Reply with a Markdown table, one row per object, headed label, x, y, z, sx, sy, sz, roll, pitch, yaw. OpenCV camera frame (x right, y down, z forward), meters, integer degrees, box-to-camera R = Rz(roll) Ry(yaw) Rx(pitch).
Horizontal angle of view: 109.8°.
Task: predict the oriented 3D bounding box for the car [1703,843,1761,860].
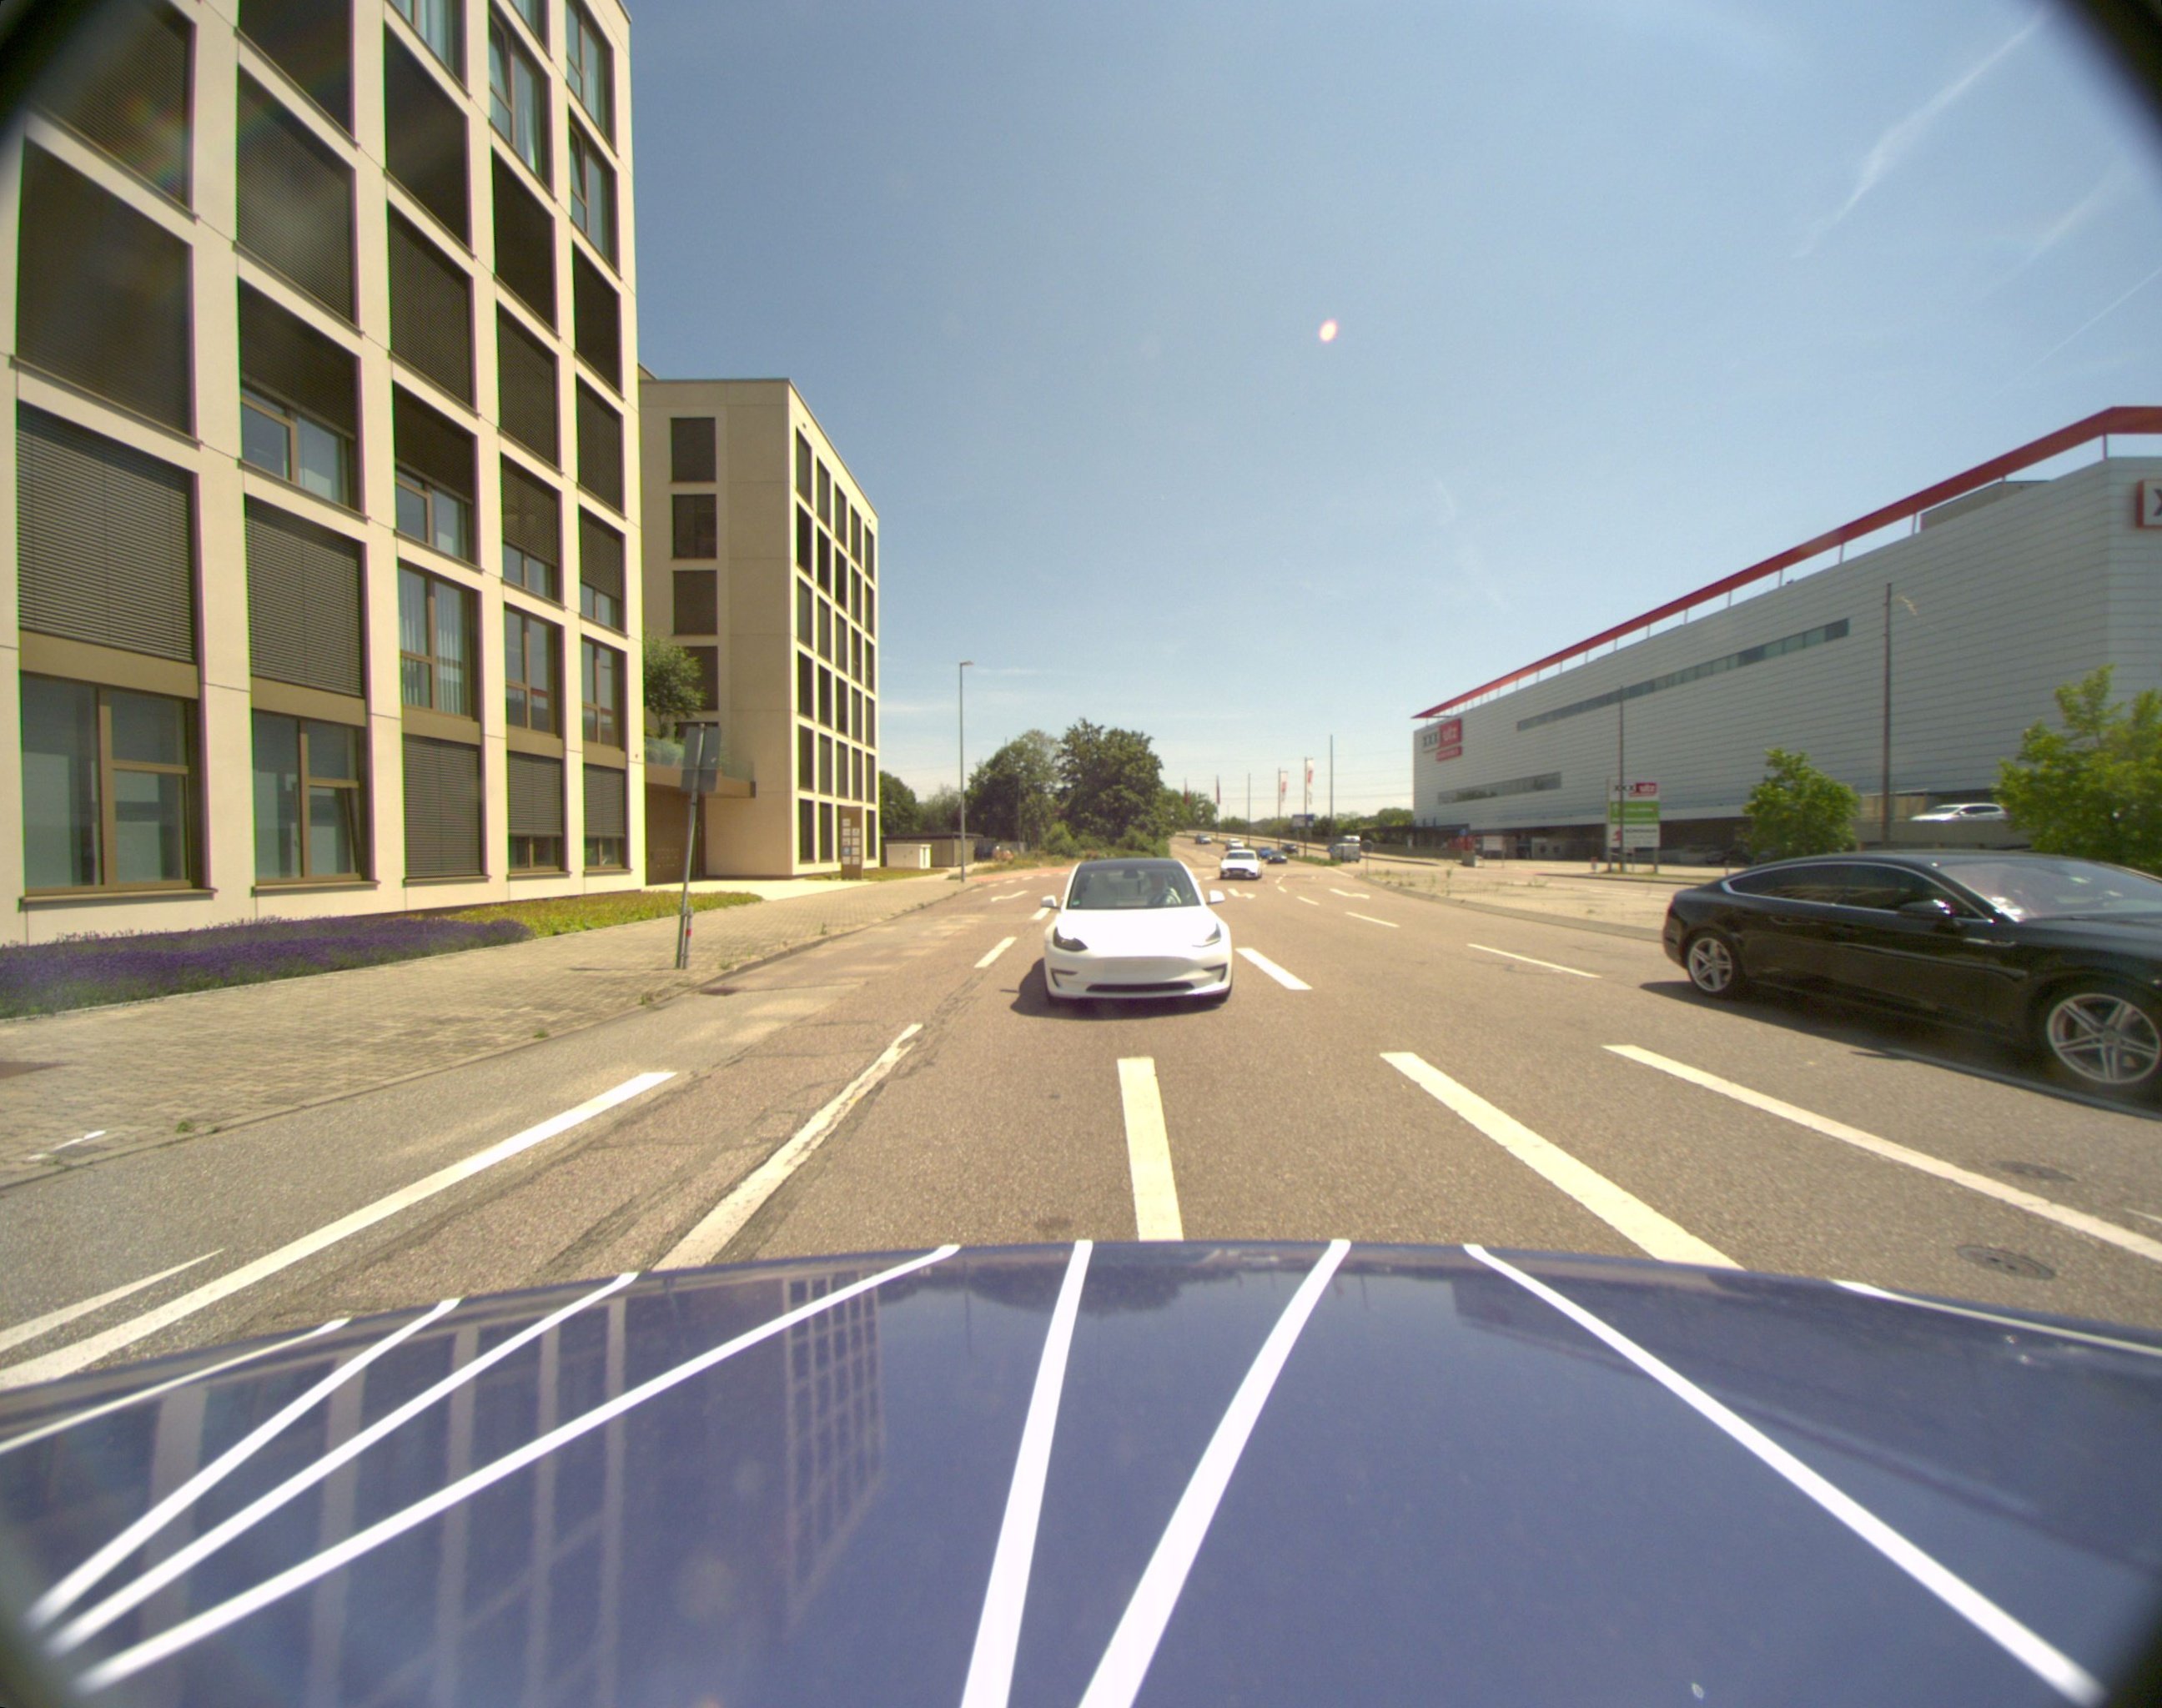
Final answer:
| label | x | y | z | sx | sy | sz | roll | pitch | yaw |
| --- | --- | --- | --- | --- | --- | --- | --- | --- | --- |
| car | 61.069 | -0.259 | 71.313 | 3.746 | 1.611 | 1.911 | 0 | 1 | 1 |

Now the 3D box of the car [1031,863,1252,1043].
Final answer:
| label | x | y | z | sx | sy | sz | roll | pitch | yaw |
| --- | --- | --- | --- | --- | --- | --- | --- | --- | --- |
| car | 0.476 | 0.883 | 8.798 | 1.880 | 1.417 | 4.405 | -2 | 0 | -1 |

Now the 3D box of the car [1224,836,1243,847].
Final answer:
| label | x | y | z | sx | sy | sz | roll | pitch | yaw |
| --- | --- | --- | --- | --- | --- | --- | --- | --- | --- |
| car | 22.340 | -1.871 | 111.465 | 1.680 | 1.566 | 4.055 | 0 | 1 | -4 |

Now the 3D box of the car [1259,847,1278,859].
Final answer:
| label | x | y | z | sx | sy | sz | roll | pitch | yaw |
| --- | --- | --- | --- | --- | --- | --- | --- | --- | --- |
| car | 22.619 | -0.149 | 91.645 | 1.800 | 1.405 | 4.408 | -2 | 0 | 8 |

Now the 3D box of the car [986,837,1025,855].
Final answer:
| label | x | y | z | sx | sy | sz | roll | pitch | yaw |
| --- | --- | --- | --- | --- | --- | --- | --- | --- | --- |
| car | -8.589 | -0.935 | 86.100 | 4.005 | 1.942 | 1.996 | 0 | 1 | -24 |

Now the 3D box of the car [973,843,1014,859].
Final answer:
| label | x | y | z | sx | sy | sz | roll | pitch | yaw |
| --- | --- | --- | --- | --- | --- | --- | --- | --- | --- |
| car | -9.428 | -0.320 | 82.095 | 4.005 | 1.652 | 1.834 | 0 | 2 | -23 |

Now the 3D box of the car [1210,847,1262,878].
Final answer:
| label | x | y | z | sx | sy | sz | roll | pitch | yaw |
| --- | --- | --- | --- | --- | --- | --- | --- | --- | --- |
| car | 7.620 | 0.391 | 37.596 | 1.735 | 1.441 | 4.230 | -1 | 0 | 0 |

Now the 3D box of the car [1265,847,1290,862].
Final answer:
| label | x | y | z | sx | sy | sz | roll | pitch | yaw |
| --- | --- | --- | --- | --- | --- | --- | --- | --- | --- |
| car | 19.914 | 0.044 | 76.995 | 1.801 | 1.369 | 4.407 | -1 | 1 | 6 |

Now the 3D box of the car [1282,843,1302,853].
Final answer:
| label | x | y | z | sx | sy | sz | roll | pitch | yaw |
| --- | --- | --- | --- | --- | --- | --- | --- | --- | --- |
| car | 28.874 | -0.781 | 104.177 | 1.860 | 1.295 | 3.894 | 1 | 1 | 4 |

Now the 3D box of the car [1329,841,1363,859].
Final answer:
| label | x | y | z | sx | sy | sz | roll | pitch | yaw |
| --- | --- | --- | --- | --- | --- | --- | --- | --- | --- |
| car | 27.257 | -0.410 | 78.381 | 1.835 | 1.840 | 4.840 | 0 | 1 | 0 |

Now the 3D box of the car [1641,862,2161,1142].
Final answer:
| label | x | y | z | sx | sy | sz | roll | pitch | yaw |
| --- | --- | --- | --- | --- | --- | --- | --- | --- | --- |
| car | 6.565 | 0.789 | 5.541 | 1.752 | 1.382 | 4.533 | -1 | 0 | 3 |

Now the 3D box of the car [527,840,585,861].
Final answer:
| label | x | y | z | sx | sy | sz | roll | pitch | yaw |
| --- | --- | --- | --- | --- | --- | --- | --- | --- | --- |
| car | -46.757 | -0.322 | 67.812 | 1.997 | 1.841 | 4.003 | 0 | 1 | 10 |

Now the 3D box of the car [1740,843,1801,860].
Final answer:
| label | x | y | z | sx | sy | sz | roll | pitch | yaw |
| --- | --- | --- | --- | --- | --- | --- | --- | --- | --- |
| car | 61.059 | -0.269 | 67.331 | 3.482 | 1.487 | 1.959 | 0 | 1 | 2 |
